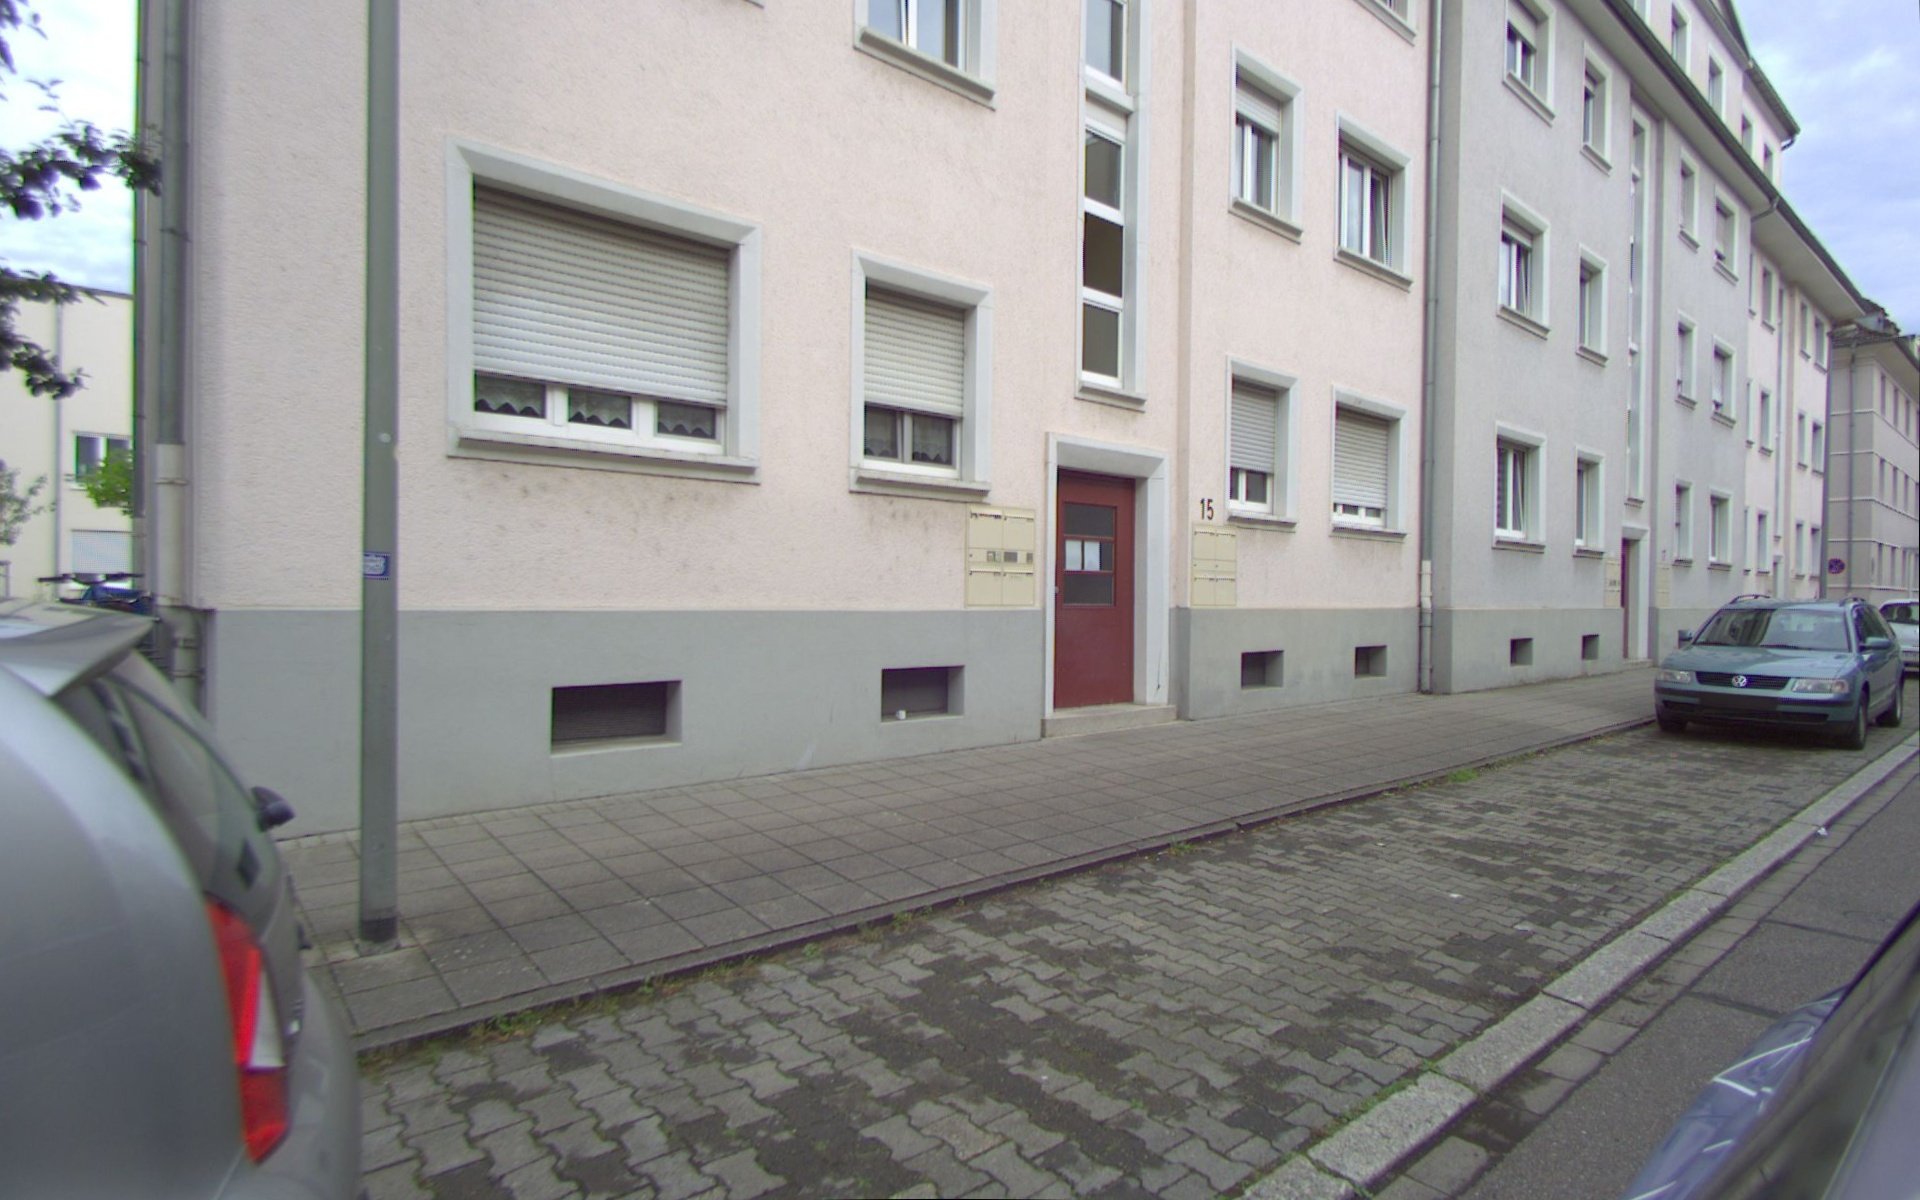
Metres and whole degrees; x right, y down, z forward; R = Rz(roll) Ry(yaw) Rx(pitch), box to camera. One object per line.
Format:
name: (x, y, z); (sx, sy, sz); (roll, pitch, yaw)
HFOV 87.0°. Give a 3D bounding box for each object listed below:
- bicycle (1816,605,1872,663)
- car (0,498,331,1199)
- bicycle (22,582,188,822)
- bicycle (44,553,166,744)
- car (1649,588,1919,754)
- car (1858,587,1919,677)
bicycle: (18.803, 0.689, 21.516); (2.088, 1.154, 0.606); (0, 1, -41)
car: (-2.791, 0.642, 0.509); (3.990, 1.511, 1.728); (0, 1, -41)
bicycle: (-5.082, 0.489, 6.016); (0.637, 1.090, 2.212); (0, 3, -41)
bicycle: (-6.498, 0.314, 7.664); (0.589, 1.299, 1.616); (1, 0, -44)
car: (9.314, 0.637, 11.254); (4.190, 1.487, 1.728); (0, 1, -41)
car: (18.815, 0.593, 19.434); (3.736, 1.619, 1.787); (0, 1, -40)
